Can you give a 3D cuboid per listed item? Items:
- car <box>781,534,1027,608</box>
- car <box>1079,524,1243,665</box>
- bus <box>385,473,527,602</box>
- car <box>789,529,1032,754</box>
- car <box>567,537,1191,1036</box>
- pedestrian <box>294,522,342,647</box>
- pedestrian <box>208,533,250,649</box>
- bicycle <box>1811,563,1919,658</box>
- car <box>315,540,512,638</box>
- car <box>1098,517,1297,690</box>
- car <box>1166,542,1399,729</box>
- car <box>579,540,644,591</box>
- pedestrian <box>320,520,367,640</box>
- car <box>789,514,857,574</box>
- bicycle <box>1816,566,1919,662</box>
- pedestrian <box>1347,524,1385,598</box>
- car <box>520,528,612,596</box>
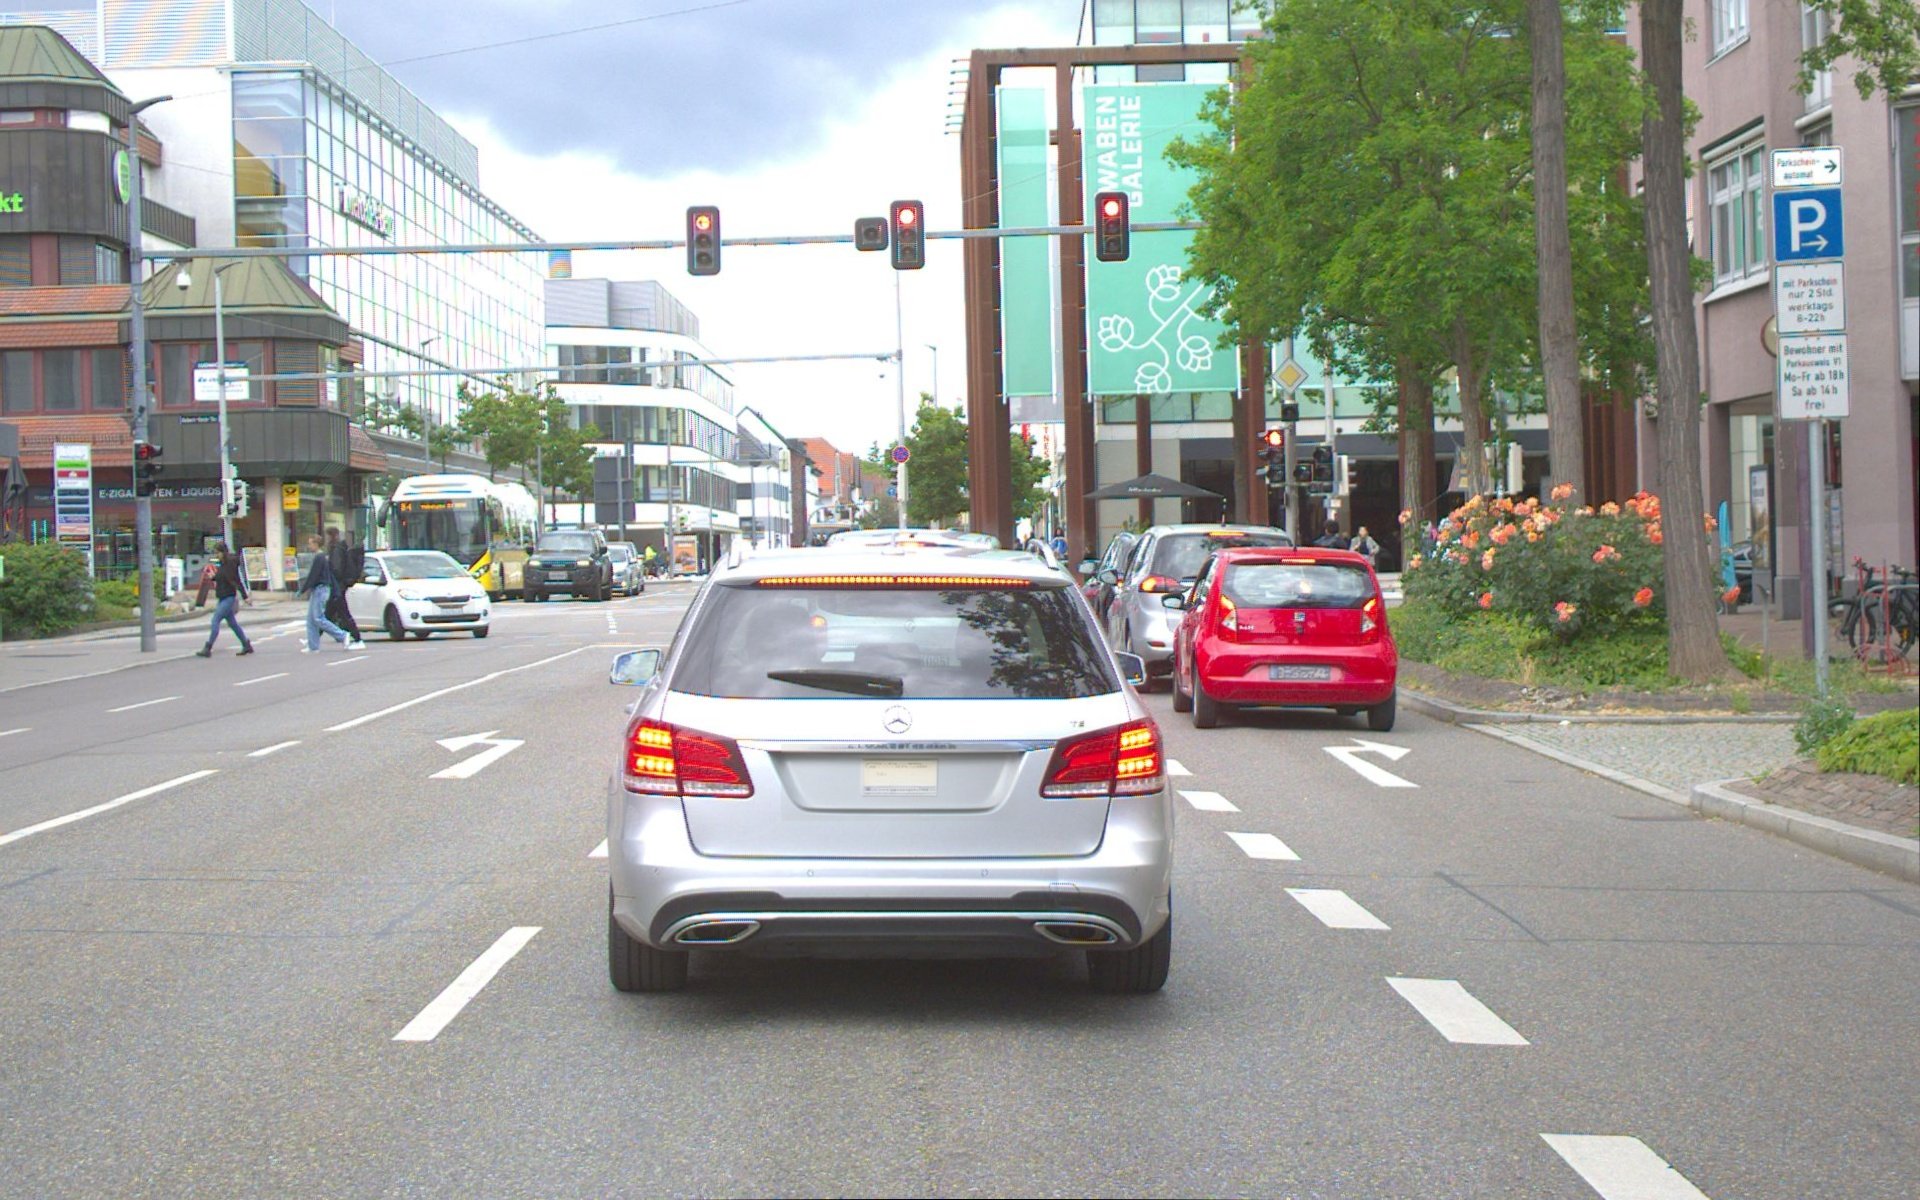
[{"bbox_3d":[-1.058,-0.575,67.155,4.715,1.365,1.964,-1,1,1],"label":"car"},{"bbox_3d":[2.358,-0.098,41.069,1.586,1.589,3.868,1,1,-2],"label":"car"},{"bbox_3d":[-13.375,-1.684,91.915,2.686,3.250,8.654,-1,1,-1],"label":"bus"},{"bbox_3d":[-0.353,0.247,25.001,1.640,1.522,3.394,0,1,0],"label":"car"},{"bbox_3d":[-0.246,0.518,12.320,1.815,1.443,4.369,1,1,0],"label":"car"},{"bbox_3d":[-9.298,-0.228,49.758,0.646,1.784,0.684,-1,1,-11],"label":"pedestrian"},{"bbox_3d":[-10.533,-0.136,49.547,0.557,1.645,0.654,-1,1,-11],"label":"pedestrian"},{"bbox_3d":[10.127,0.107,37.114,1.769,0.994,0.447,-1,1,4],"label":"bicycle"},{"bbox_3d":[-8.867,-0.168,55.611,1.574,1.483,3.463,-3,1,-39],"label":"car"},{"bbox_3d":[2.343,0.000,34.730,1.586,1.628,3.917,1,1,-2],"label":"car"},{"bbox_3d":[2.631,0.252,28.641,1.586,1.438,3.348,1,1,0],"label":"car"},{"bbox_3d":[-9.797,-0.987,96.744,1.555,1.387,3.288,-1,1,-1],"label":"car"},{"bbox_3d":[-9.145,-0.301,50.957,0.644,1.769,0.570,-1,1,-11],"label":"pedestrian"},{"bbox_3d":[-4.523,-1.863,114.300,1.993,1.942,4.951,-1,1,1],"label":"car"},{"bbox_3d":[10.122,0.141,36.568,1.901,0.994,0.468,-1,1,4],"label":"bicycle"},{"bbox_3d":[9.125,-0.877,77.264,0.651,1.645,0.559,-1,1,-14],"label":"pedestrian"},{"bbox_3d":[-10.203,-0.996,89.248,1.993,1.700,4.065,-1,1,-1],"label":"car"}]
